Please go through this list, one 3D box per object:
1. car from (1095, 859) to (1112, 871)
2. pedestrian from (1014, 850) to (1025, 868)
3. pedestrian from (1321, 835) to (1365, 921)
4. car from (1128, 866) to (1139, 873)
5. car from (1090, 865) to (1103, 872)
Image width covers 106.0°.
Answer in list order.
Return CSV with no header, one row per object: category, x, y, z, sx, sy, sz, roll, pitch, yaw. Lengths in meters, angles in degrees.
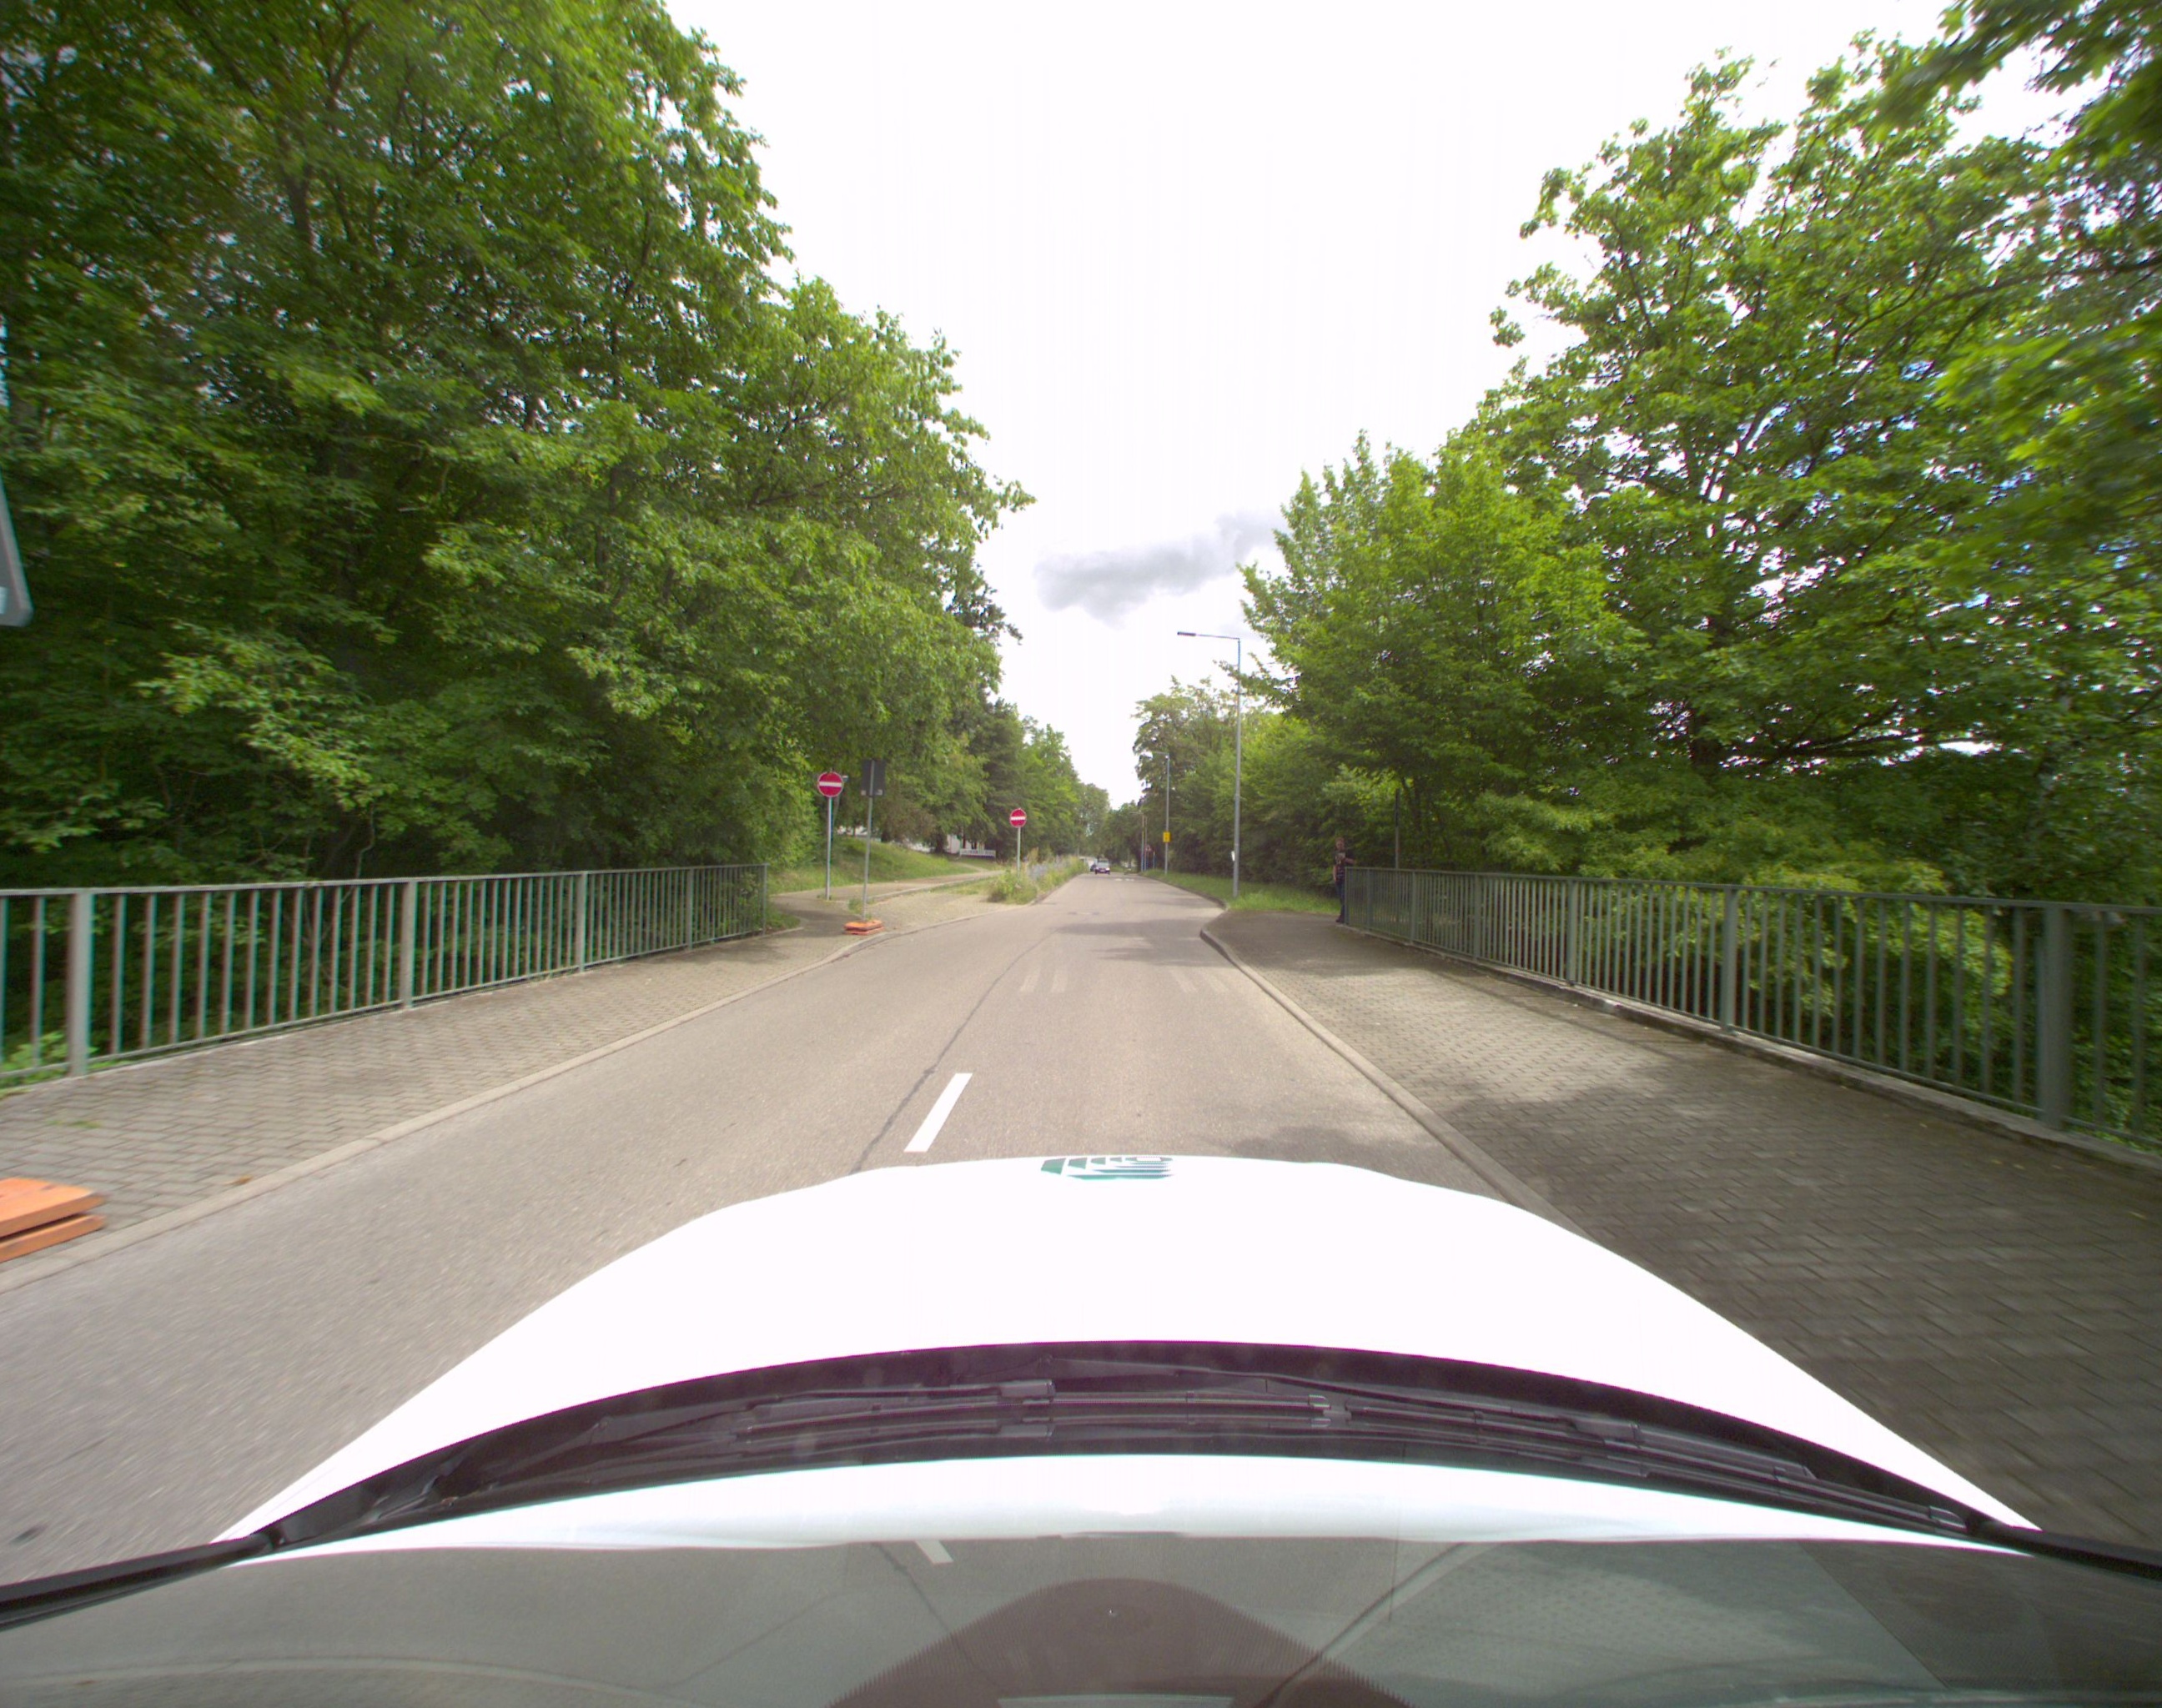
car,2.557,1.202,91.839,1.685,1.349,4.099,1,0,4
pedestrian,-7.013,0.557,92.543,0.872,2.014,0.867,3,-5,-43
pedestrian,5.572,0.505,17.325,0.591,1.783,0.675,1,-1,-36
car,12.871,3.924,200.799,1.846,1.492,4.016,-2,-4,16
car,3.072,2.966,163.560,1.967,1.383,4.010,2,-1,9
